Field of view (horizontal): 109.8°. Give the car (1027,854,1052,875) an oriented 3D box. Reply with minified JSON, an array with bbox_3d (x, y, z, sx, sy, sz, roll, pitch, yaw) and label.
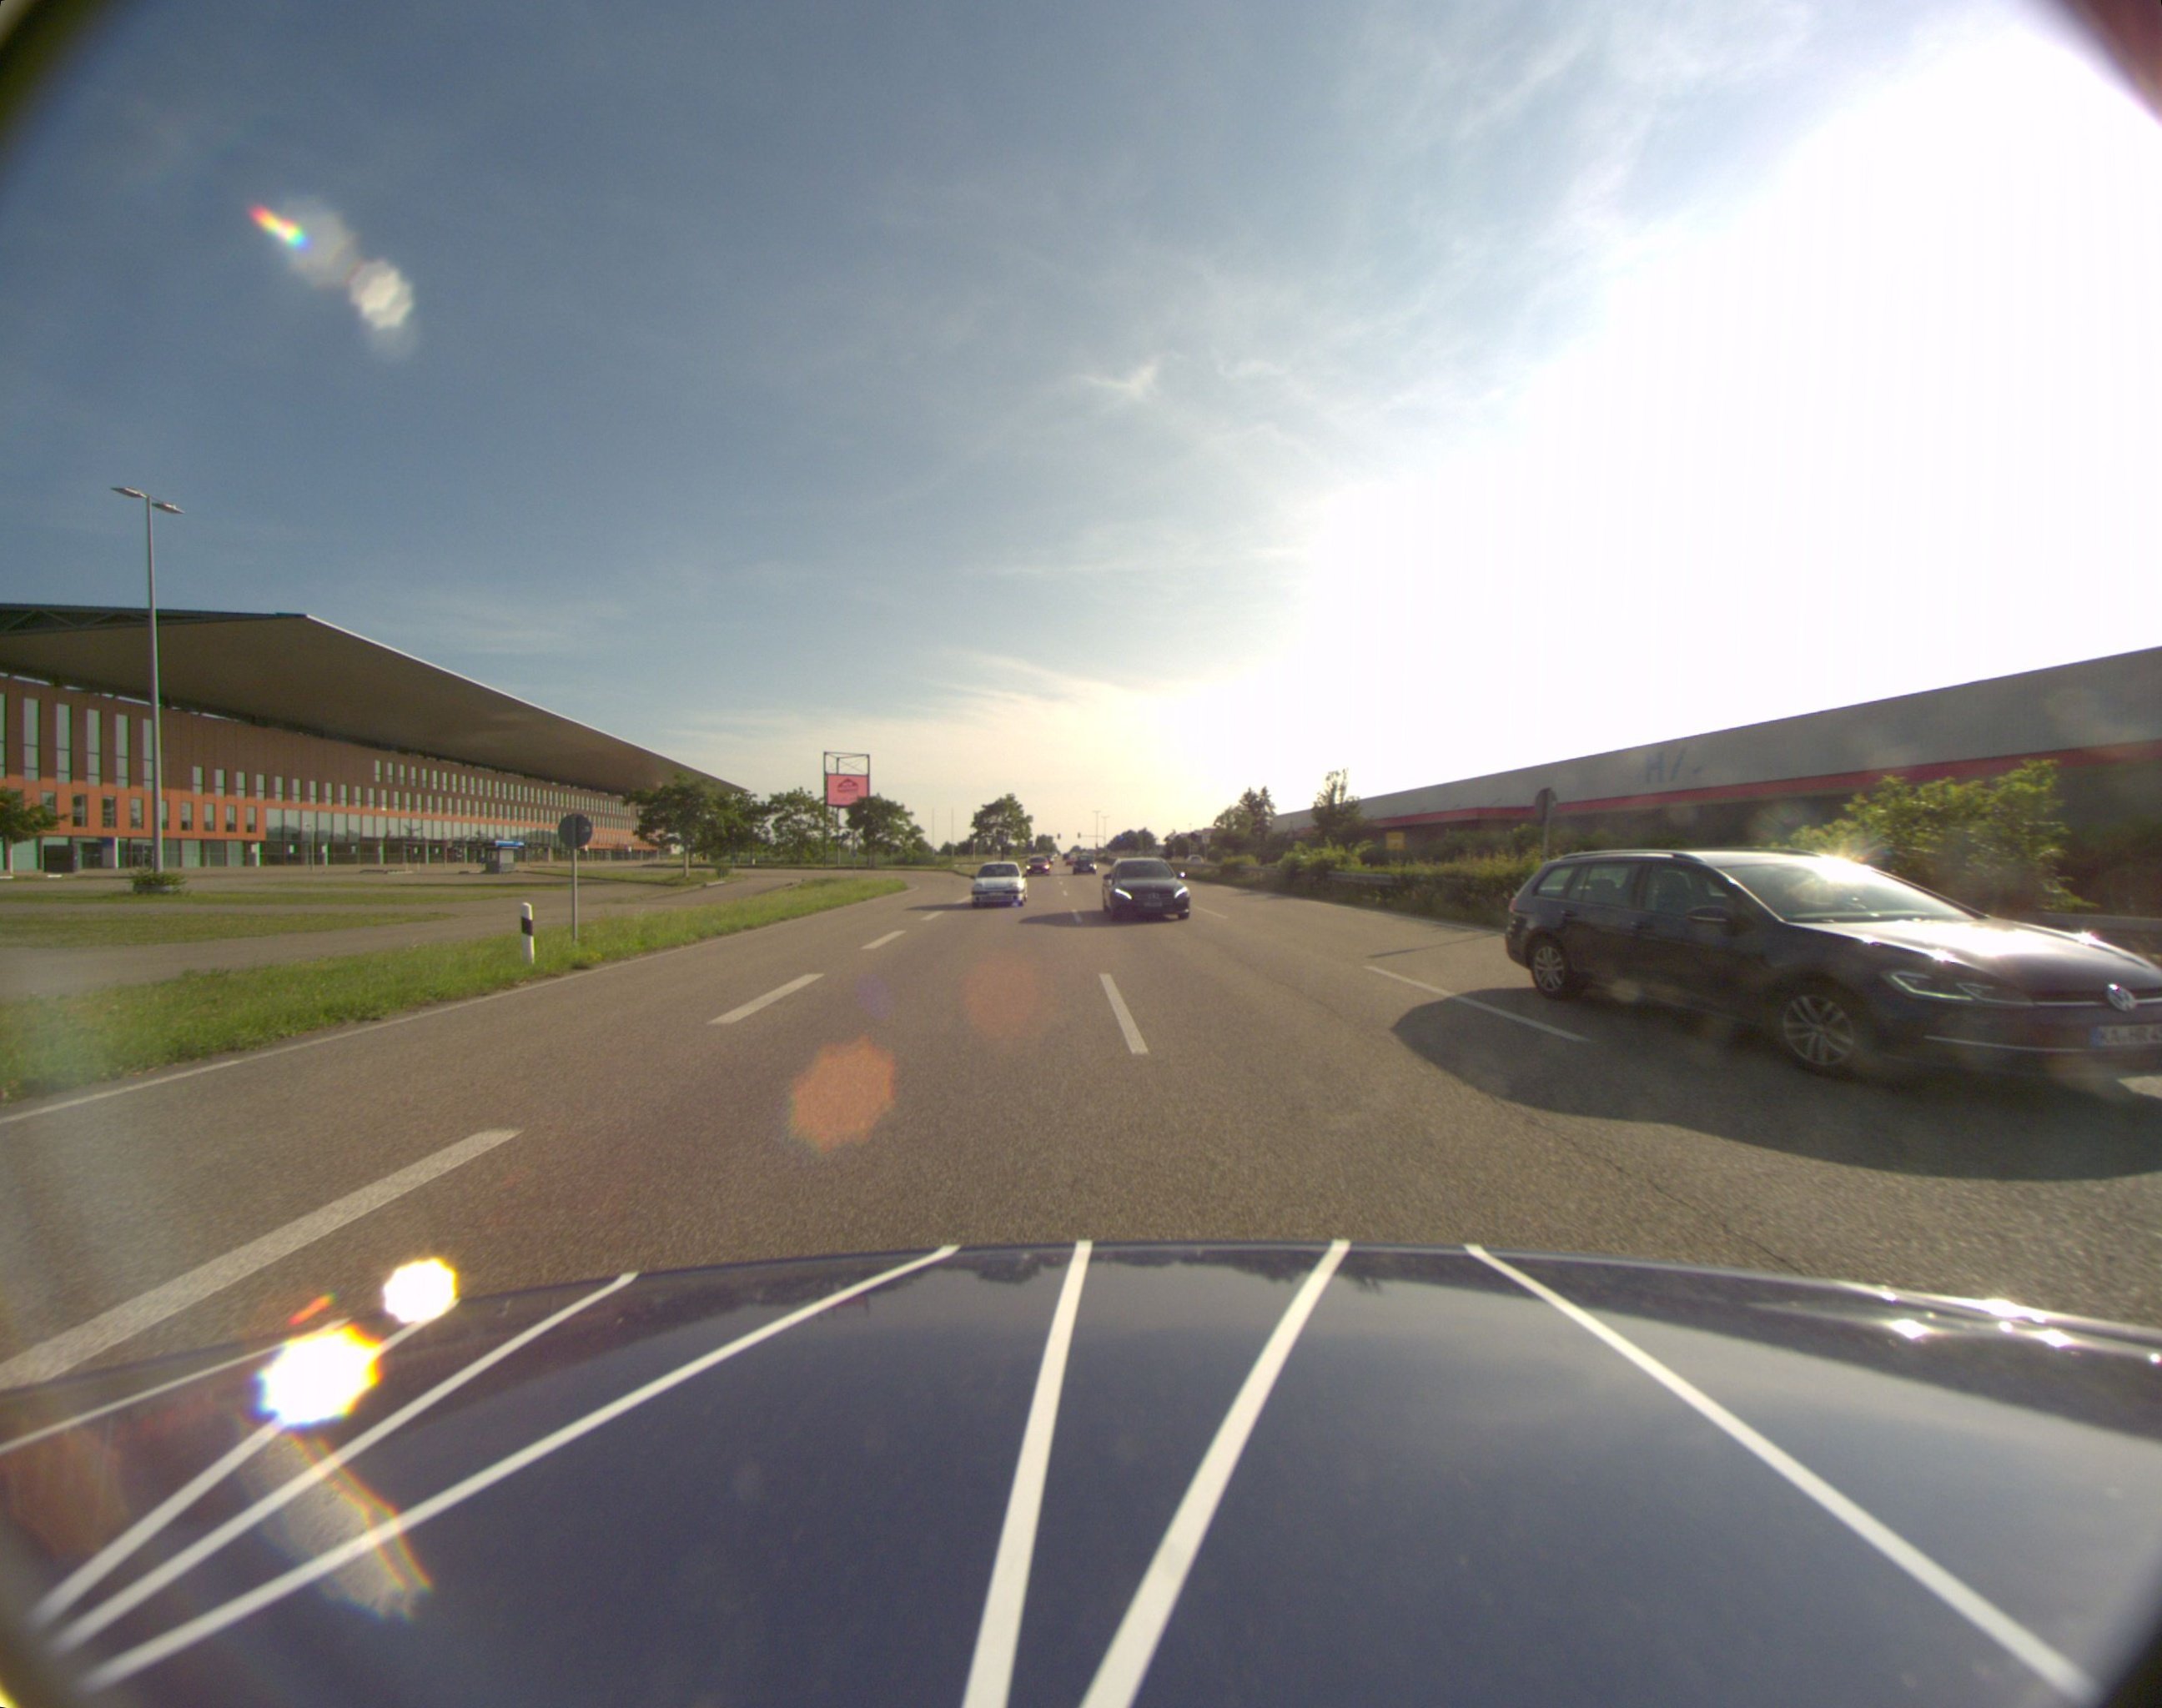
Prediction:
[{"bbox_3d":[-3.211,0.806,59.296,1.751,1.512,3.738,-1,0,-1],"label":"car"}]

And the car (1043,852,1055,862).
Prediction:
[{"bbox_3d":[-4.846,0.430,115.735,1.751,1.512,3.738,-1,0,-1],"label":"car"}]

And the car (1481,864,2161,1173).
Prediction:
[{"bbox_3d":[5.396,0.857,6.204,1.650,1.462,4.775,0,0,-1],"label":"car"}]

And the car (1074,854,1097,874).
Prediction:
[{"bbox_3d":[0.331,0.787,60.972,1.758,1.499,3.421,-1,0,-2],"label":"car"}]

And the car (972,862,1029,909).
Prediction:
[{"bbox_3d":[-2.574,0.980,24.911,1.578,1.371,3.451,-1,0,-1],"label":"car"}]

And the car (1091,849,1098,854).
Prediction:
[{"bbox_3d":[3.673,-0.672,204.022,1.711,1.428,3.564,-1,0,-1],"label":"car"}]

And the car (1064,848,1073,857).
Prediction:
[{"bbox_3d":[-2.710,-0.307,163.478,1.999,2.002,3.999,-1,0,-2],"label":"car"}]

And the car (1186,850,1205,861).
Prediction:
[{"bbox_3d":[15.127,0.173,100.482,1.784,1.416,3.999,0,1,-1],"label":"car"}]

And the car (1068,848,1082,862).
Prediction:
[{"bbox_3d":[-0.802,0.120,104.458,1.799,1.926,3.999,-1,0,-2],"label":"car"}]

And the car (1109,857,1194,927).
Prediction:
[{"bbox_3d":[1.647,0.843,19.212,1.577,1.462,5.021,-1,0,-1],"label":"car"}]
